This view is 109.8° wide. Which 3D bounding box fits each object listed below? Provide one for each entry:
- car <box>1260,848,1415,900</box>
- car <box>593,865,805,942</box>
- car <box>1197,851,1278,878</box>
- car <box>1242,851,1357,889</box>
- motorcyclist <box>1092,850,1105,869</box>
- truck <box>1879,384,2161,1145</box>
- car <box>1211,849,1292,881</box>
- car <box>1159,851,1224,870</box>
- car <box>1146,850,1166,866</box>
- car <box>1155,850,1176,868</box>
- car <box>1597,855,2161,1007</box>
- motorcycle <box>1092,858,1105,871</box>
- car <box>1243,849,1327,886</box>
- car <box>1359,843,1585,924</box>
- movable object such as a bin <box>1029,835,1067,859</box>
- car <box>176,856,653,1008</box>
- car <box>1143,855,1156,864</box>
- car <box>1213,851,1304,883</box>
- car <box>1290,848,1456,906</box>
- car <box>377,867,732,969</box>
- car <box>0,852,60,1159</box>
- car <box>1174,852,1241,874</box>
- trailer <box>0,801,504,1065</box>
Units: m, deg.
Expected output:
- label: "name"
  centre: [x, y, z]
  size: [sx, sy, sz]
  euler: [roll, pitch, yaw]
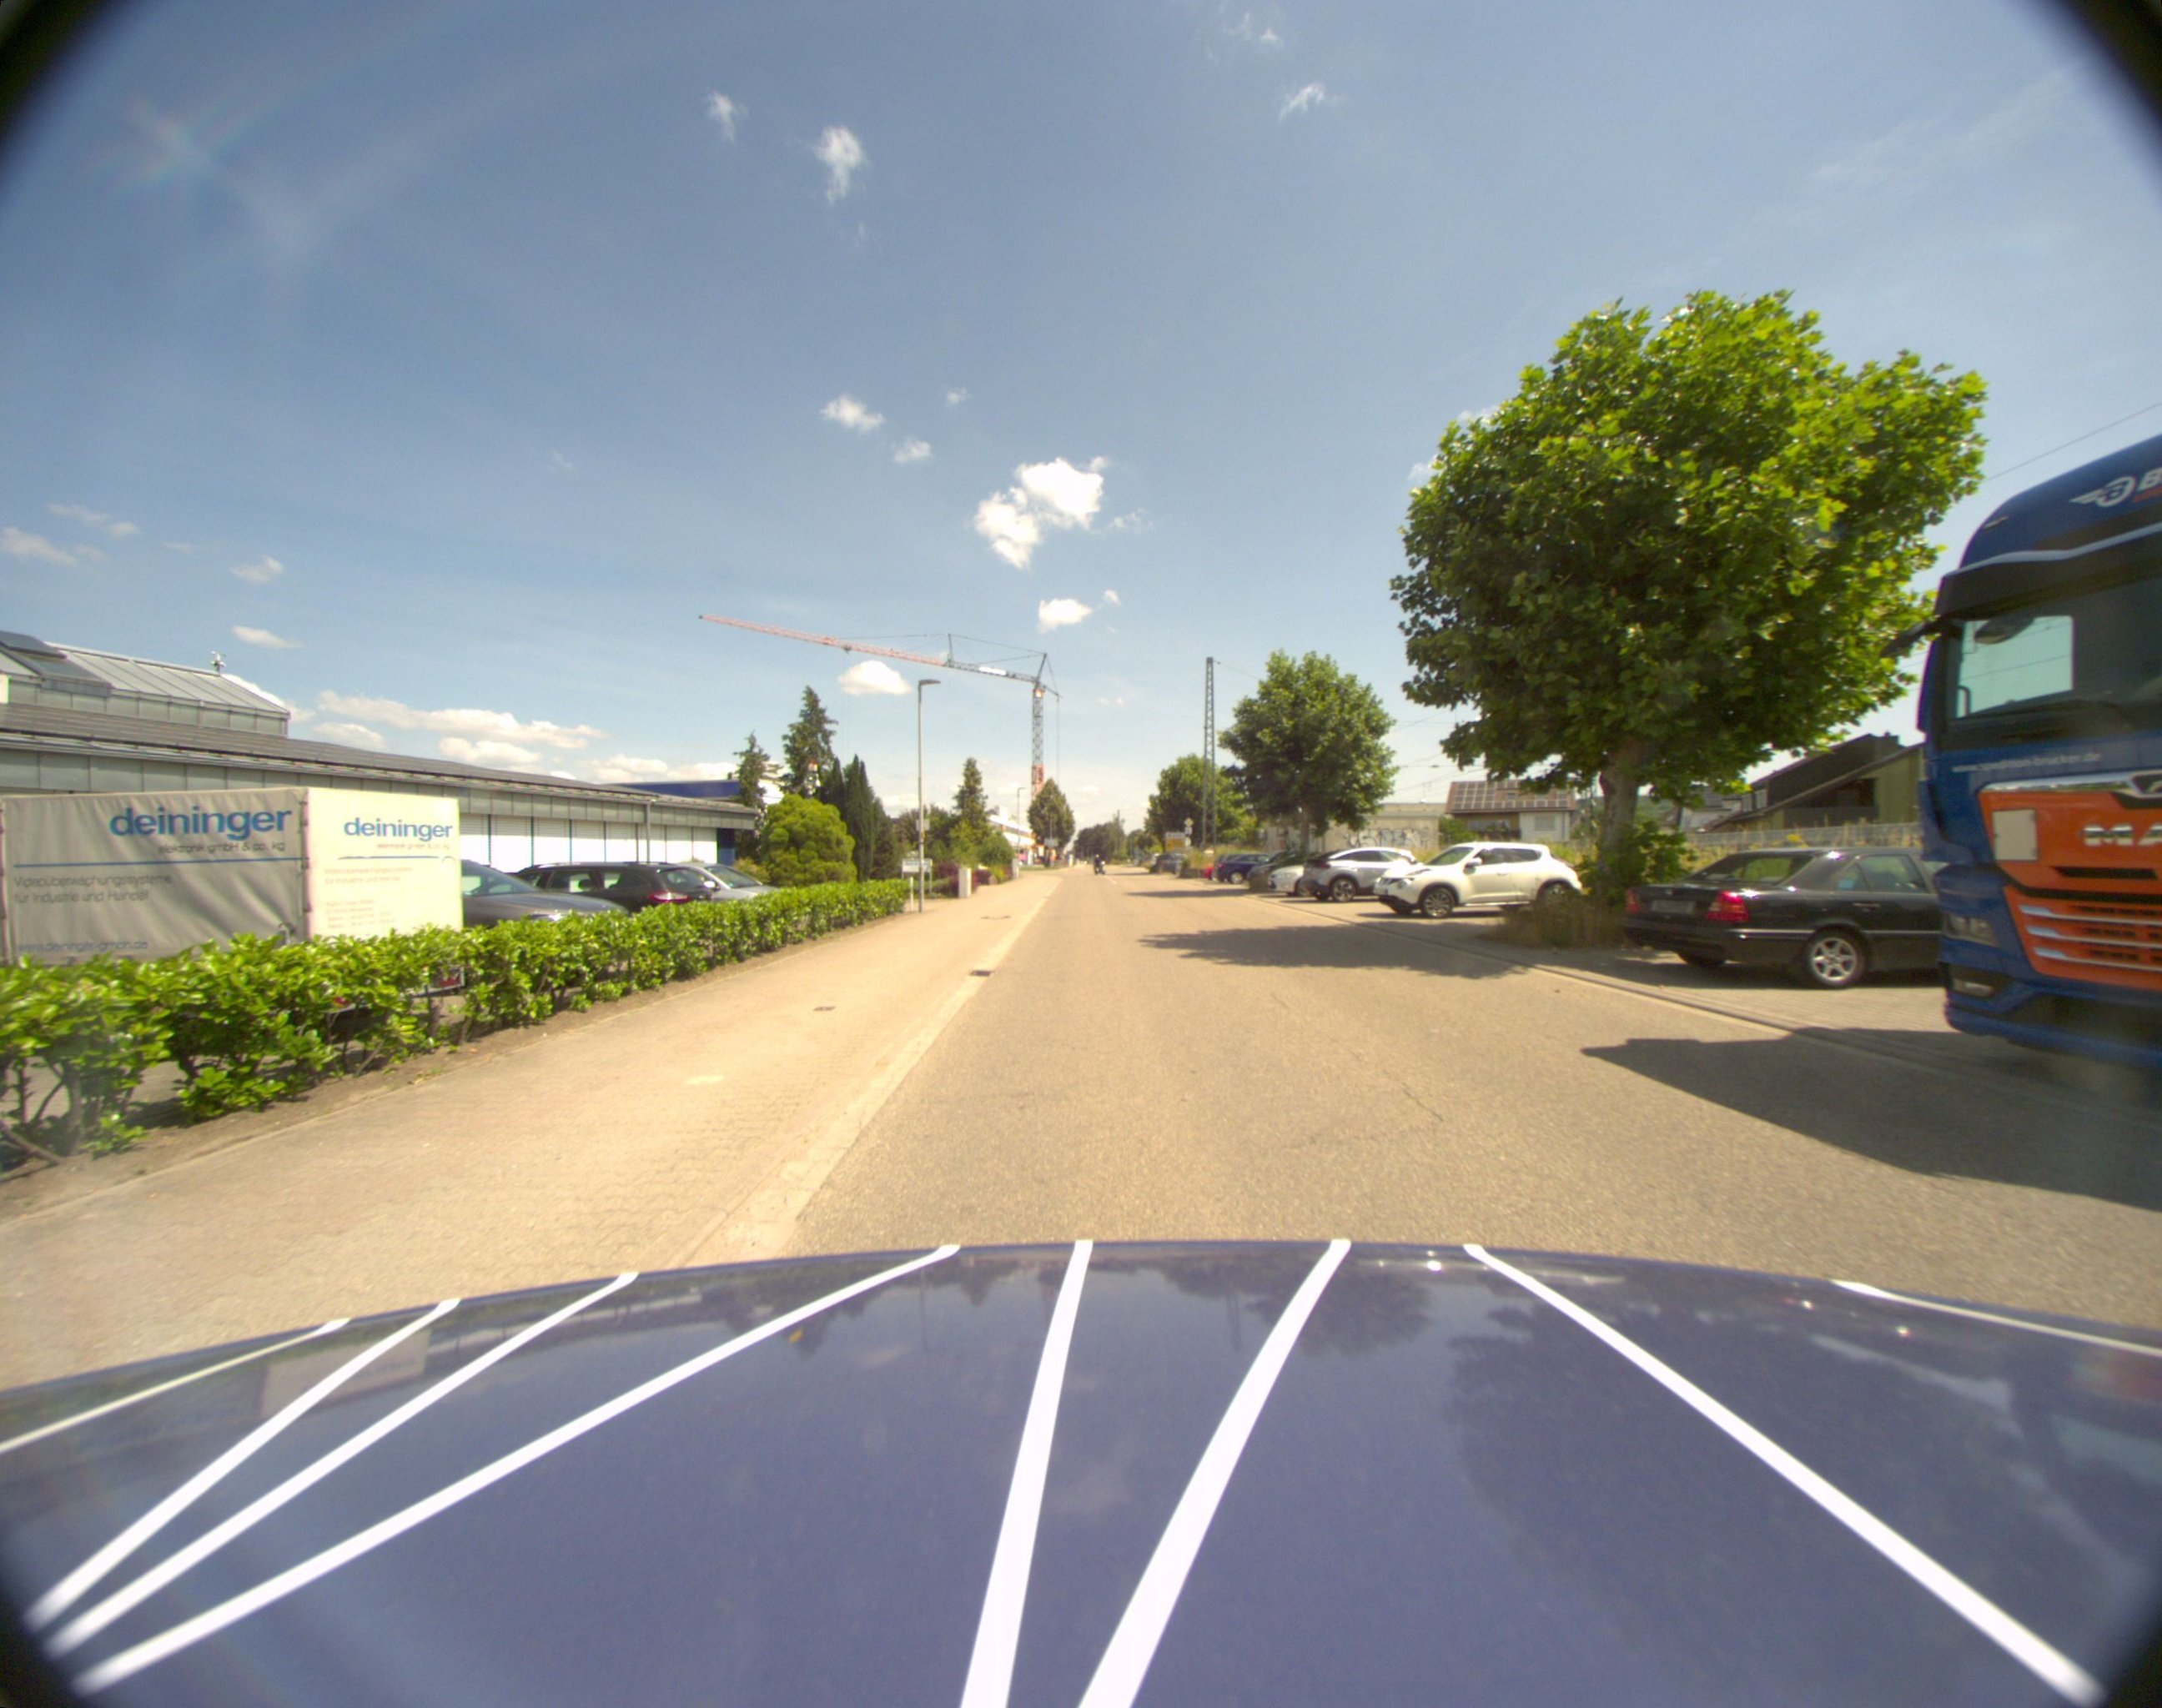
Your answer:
- label: "car"
  centre: [8.176, 0.614, 24.532]
  size: [4.349, 1.524, 1.926]
  euler: [-1, 0, 0]
- label: "car"
  centre: [-7.572, 0.943, 15.273]
  size: [3.360, 1.393, 1.770]
  euler: [0, 0, 4]
- label: "car"
  centre: [8.517, 0.595, 41.636]
  size: [4.083, 1.360, 1.674]
  euler: [-1, -1, 1]
- label: "car"
  centre: [8.608, 0.630, 30.169]
  size: [4.083, 1.464, 1.787]
  euler: [0, 1, 1]
- label: "motorcyclist"
  centre: [1.413, 0.452, 61.964]
  size: [0.778, 1.500, 0.920]
  euler: [-1, 1, -15]
- label: "truck"
  centre: [8.724, -0.518, 3.859]
  size: [6.631, 3.801, 2.663]
  euler: [-2, 1, -2]
- label: "car"
  centre: [8.557, 0.536, 38.333]
  size: [3.675, 1.439, 1.684]
  euler: [-2, 0, -1]
- label: "car"
  centre: [8.025, 0.469, 55.237]
  size: [4.438, 1.402, 1.787]
  euler: [0, 0, -2]
- label: "car"
  centre: [7.427, 0.375, 75.577]
  size: [1.807, 1.555, 4.263]
  euler: [0, 0, 3]
- label: "car"
  centre: [7.286, 0.413, 65.448]
  size: [1.688, 1.521, 4.064]
  euler: [0, 0, 7]
- label: "car"
  centre: [8.324, 0.738, 8.210]
  size: [4.219, 1.387, 1.872]
  euler: [-1, 0, 1]
- label: "motorcycle"
  centre: [1.422, 0.829, 61.928]
  size: [0.465, 1.045, 1.952]
  euler: [-1, 1, -15]
- label: "car"
  centre: [8.837, 0.563, 33.078]
  size: [3.196, 1.529, 1.602]
  euler: [0, 1, -1]
- label: "car"
  centre: [8.367, 0.602, 16.490]
  size: [3.981, 1.608, 1.850]
  euler: [-1, 0, -3]
- label: "movable object such as a bin"
  centre: [-4.791, -0.979, 110.252]
  size: [5.133, 3.276, 2.390]
  euler: [0, 6, -16]
- label: "car"
  centre: [-7.685, 0.854, 9.143]
  size: [4.045, 1.566, 1.713]
  euler: [0, 2, -5]
- label: "car"
  centre: [9.854, 0.805, 109.296]
  size: [1.607, 1.341, 4.000]
  euler: [0, 0, 2]
- label: "car"
  centre: [8.245, 0.610, 35.614]
  size: [3.953, 1.442, 1.787]
  euler: [0, 0, 5]
- label: "car"
  centre: [8.305, 0.632, 21.859]
  size: [3.997, 1.539, 2.000]
  euler: [-1, 1, -1]
- label: "car"
  centre: [-8.437, 0.991, 12.522]
  size: [4.487, 1.432, 1.814]
  euler: [-1, 0, -3]
- label: "car"
  centre: [-7.857, 0.819, 3.317]
  size: [4.223, 1.625, 1.800]
  euler: [0, 2, -1]
- label: "car"
  centre: [8.333, 0.581, 50.411]
  size: [4.084, 1.394, 1.786]
  euler: [-1, 0, -2]
- label: "trailer"
  centre: [-8.013, 0.620, 6.875]
  size: [3.997, 2.002, 2.000]
  euler: [-1, 1, 1]
